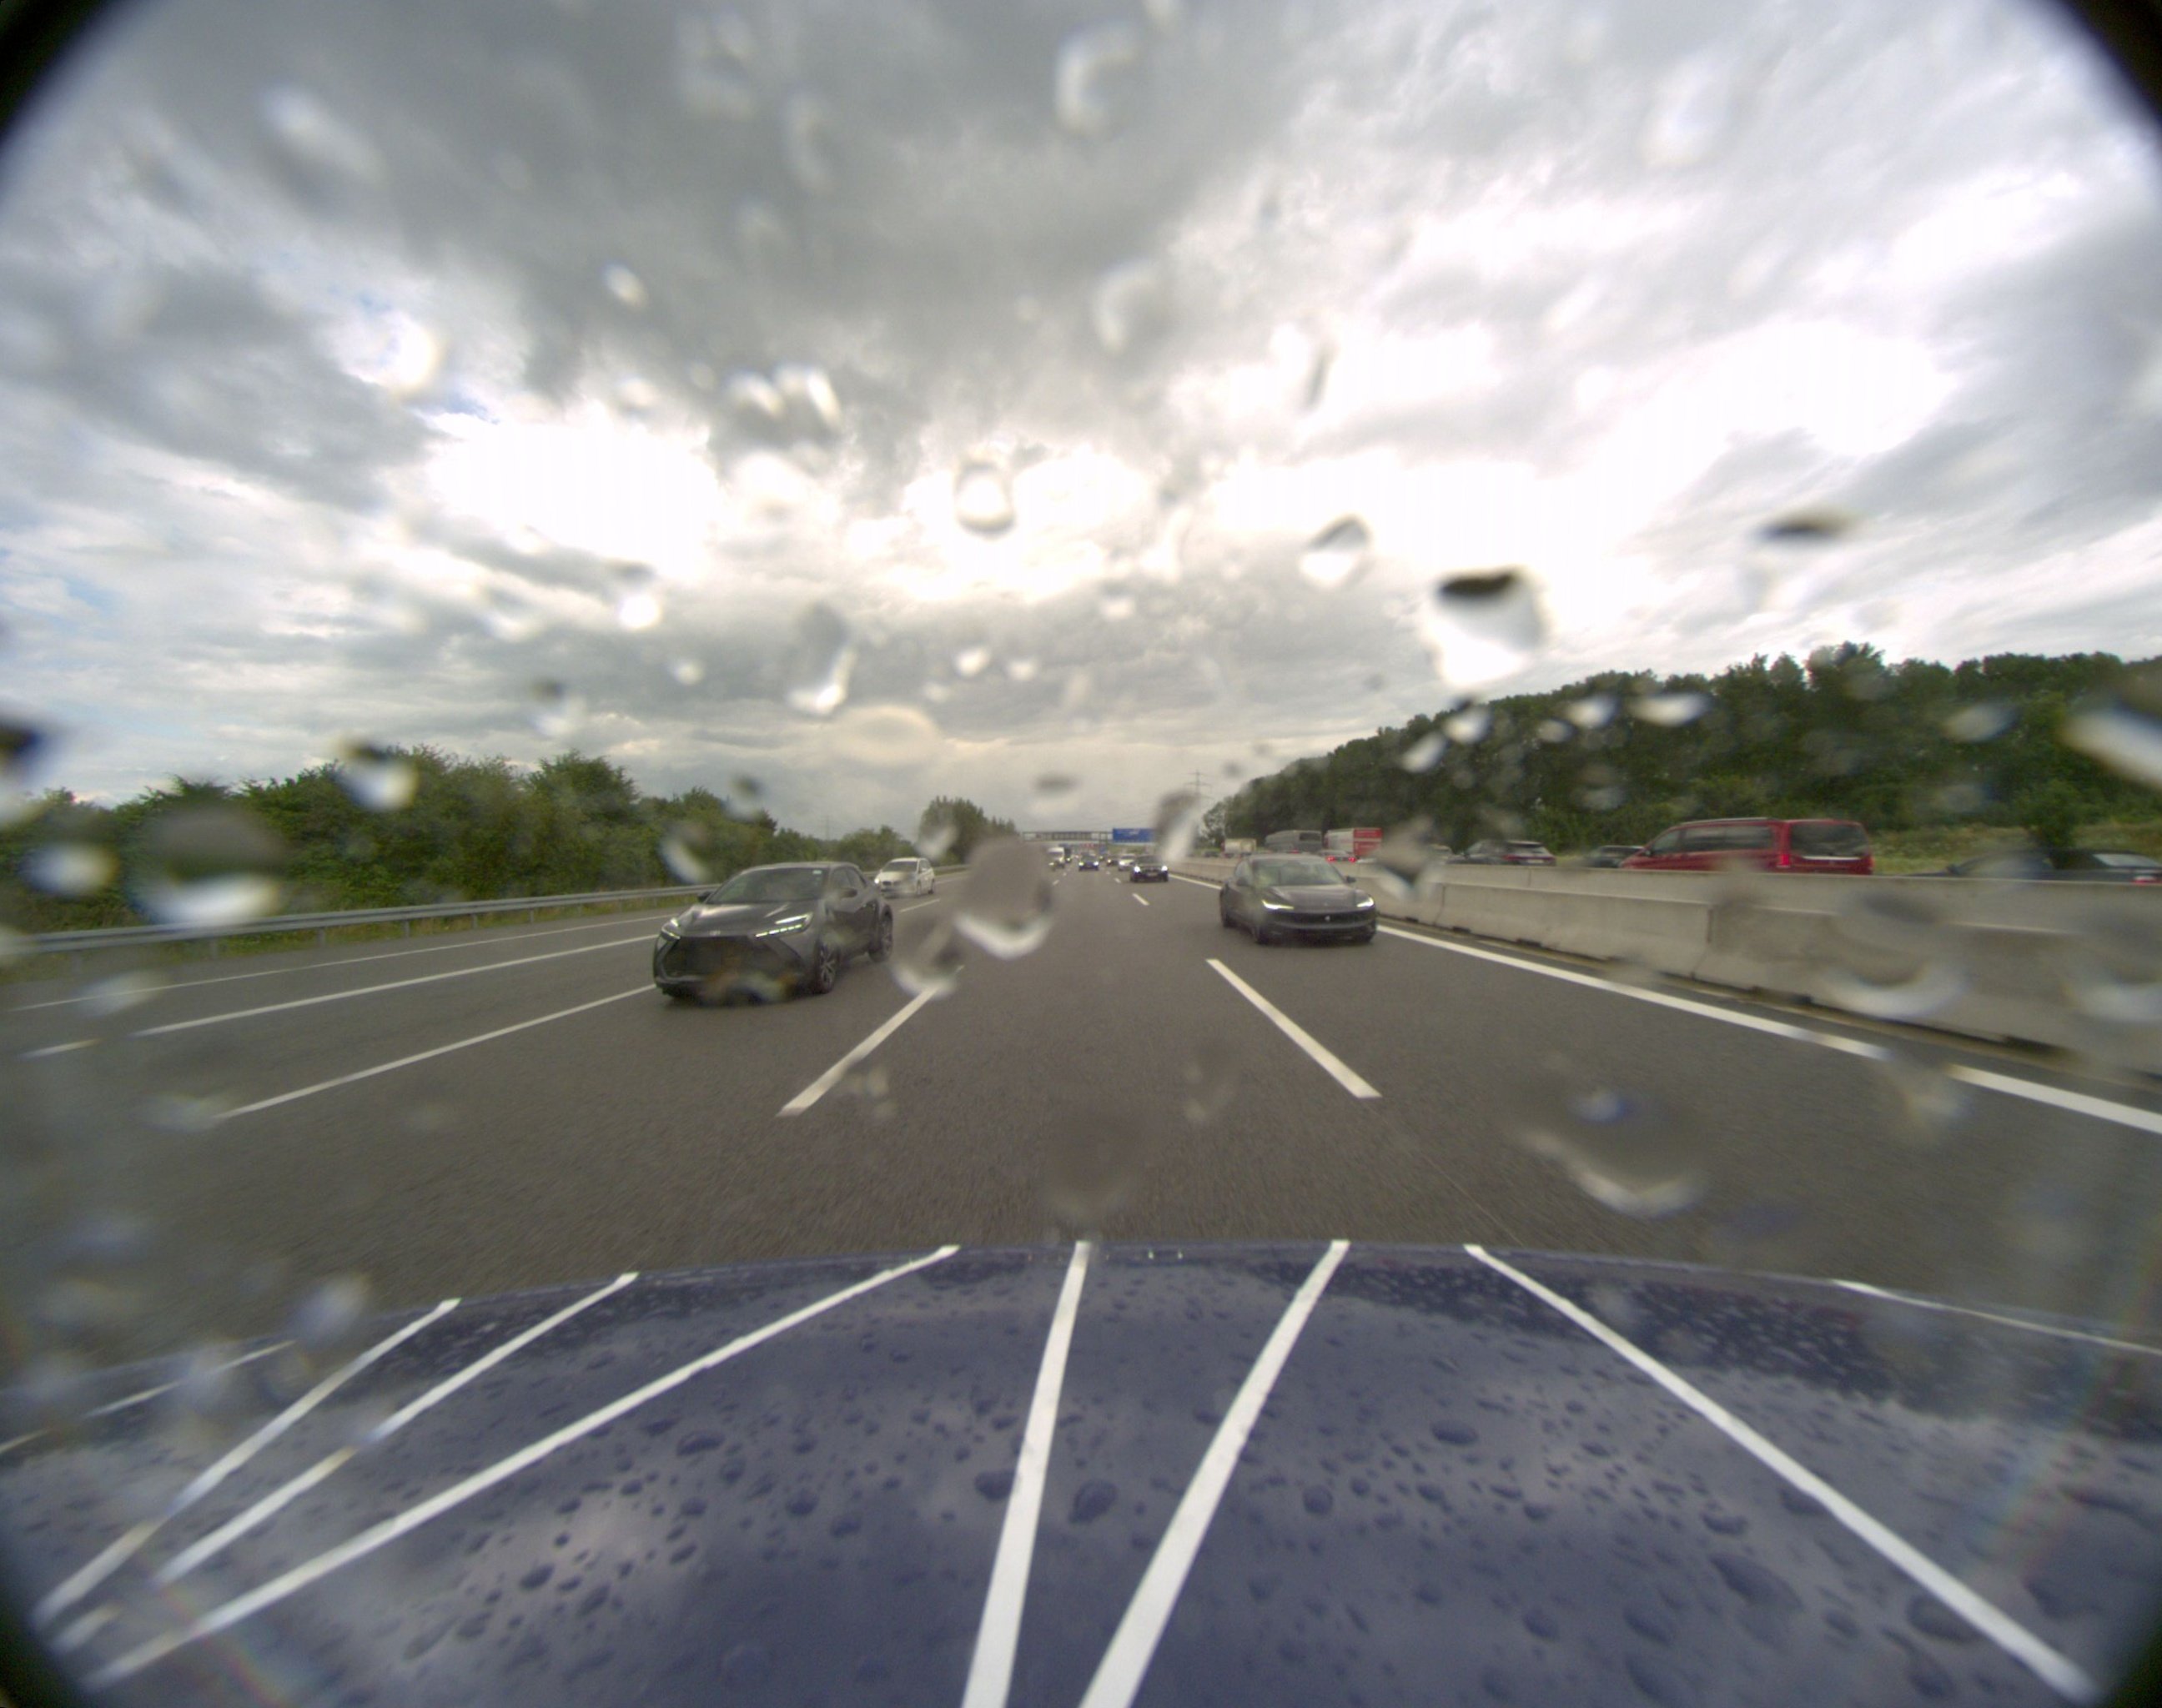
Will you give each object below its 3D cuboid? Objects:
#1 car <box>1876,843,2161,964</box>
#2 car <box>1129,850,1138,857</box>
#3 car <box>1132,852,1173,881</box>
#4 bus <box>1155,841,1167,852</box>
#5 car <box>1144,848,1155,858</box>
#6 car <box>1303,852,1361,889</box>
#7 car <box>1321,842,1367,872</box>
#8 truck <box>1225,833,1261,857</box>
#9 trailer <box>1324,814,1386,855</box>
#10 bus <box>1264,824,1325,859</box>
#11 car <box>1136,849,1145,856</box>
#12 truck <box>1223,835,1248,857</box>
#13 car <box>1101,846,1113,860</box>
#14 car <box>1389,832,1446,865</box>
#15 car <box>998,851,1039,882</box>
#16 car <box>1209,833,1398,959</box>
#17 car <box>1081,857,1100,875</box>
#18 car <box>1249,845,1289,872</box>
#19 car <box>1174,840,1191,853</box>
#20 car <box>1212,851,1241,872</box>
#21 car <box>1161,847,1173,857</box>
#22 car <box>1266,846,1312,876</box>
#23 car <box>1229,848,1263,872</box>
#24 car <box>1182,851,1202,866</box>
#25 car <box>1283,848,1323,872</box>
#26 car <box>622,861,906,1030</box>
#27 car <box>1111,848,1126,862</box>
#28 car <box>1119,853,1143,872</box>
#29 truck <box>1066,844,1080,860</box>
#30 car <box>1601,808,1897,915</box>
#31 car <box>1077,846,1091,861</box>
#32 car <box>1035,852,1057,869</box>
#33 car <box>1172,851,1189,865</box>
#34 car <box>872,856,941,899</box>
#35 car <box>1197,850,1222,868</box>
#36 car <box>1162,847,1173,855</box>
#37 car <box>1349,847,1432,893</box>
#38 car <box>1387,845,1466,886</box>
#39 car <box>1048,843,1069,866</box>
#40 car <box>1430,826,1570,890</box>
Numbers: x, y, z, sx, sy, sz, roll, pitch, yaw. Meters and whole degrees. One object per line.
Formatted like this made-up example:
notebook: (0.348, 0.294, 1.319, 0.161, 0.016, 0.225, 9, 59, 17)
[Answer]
car: (18.259, 0.776, 14.275, 1.998, 1.888, 4.474, -2, 0, 1)
car: (14.980, -0.130, 216.124, 1.999, 1.844, 4.634, -2, 0, -2)
car: (3.696, 0.645, 39.986, 1.922, 1.407, 4.001, -1, 0, 2)
bus: (25.143, -2.281, 239.705, 2.838, 3.313, 9.963, -2, 0, 1)
car: (14.779, -0.247, 164.708, 1.999, 2.002, 4.264, -2, 0, 0)
car: (14.693, 0.947, 44.777, 1.998, 2.002, 4.349, -2, 0, 1)
car: (18.470, 0.196, 53.555, 1.998, 2.002, 3.711, -2, 0, 1)
truck: (27.100, -1.416, 127.500, 3.156, 3.723, 13.298, -2, 0, 0)
trailer: (26.678, -1.788, 74.524, 2.867, 3.740, 9.160, -1, 0, 1)
bus: (22.472, -1.241, 81.013, 2.694, 3.365, 13.997, -2, 0, 1)
car: (15.813, -0.401, 202.330, 1.999, 2.002, 5.181, -2, 0, -1)
truck: (27.129, -1.420, 133.901, 3.158, 3.690, 6.318, -2, 0, 1)
car: (4.711, -0.210, 137.885, 2.145, 2.486, 5.448, -2, 0, 2)
car: (22.129, -0.343, 50.113, 1.998, 2.002, 4.000, -3, 0, 1)
car: (-3.460, 0.655, 42.828, 1.711, 1.621, 4.457, -2, 0, 2)
car: (3.720, 0.608, 13.791, 1.998, 1.810, 5.163, -2, 0, 1)
car: (0.923, 1.110, 71.915, 1.711, 1.562, 4.347, -2, 0, 2)
car: (14.621, 0.303, 59.301, 1.998, 1.956, 4.696, -2, 0, 1)
car: (18.631, -1.367, 139.488, 2.265, 2.152, 6.816, -2, 0, 1)
car: (14.629, 0.706, 76.743, 1.998, 1.956, 4.696, -2, 0, 1)
car: (15.765, -0.402, 139.161, 1.808, 1.709, 4.000, -2, 0, 1)
car: (14.700, 0.461, 53.949, 1.998, 2.002, 4.696, -2, 0, 1)
car: (14.595, 0.494, 67.418, 1.998, 1.956, 4.696, -2, 0, 1)
car: (14.789, 0.575, 101.375, 1.998, 1.956, 4.696, -2, 0, 1)
car: (18.717, 0.474, 64.271, 1.998, 1.956, 4.696, -2, 0, 1)
car: (-3.749, 0.951, 10.013, 1.785, 1.603, 4.597, -2, 0, 0)
car: (4.575, 0.140, 92.370, 1.711, 1.621, 4.000, -2, 0, 2)
car: (4.350, 0.703, 66.519, 1.822, 1.565, 4.000, -2, 0, 0)
truck: (-1.458, -0.298, 136.289, 2.391, 2.726, 6.592, -2, 0, -2)
car: (14.665, 0.134, 17.274, 1.998, 2.002, 5.418, -2, 0, 1)
car: (0.589, -0.065, 127.794, 2.145, 2.486, 5.448, -2, 0, 1)
car: (-3.258, 0.575, 72.246, 1.945, 1.482, 4.774, -2, 0, -1)
car: (15.460, 0.595, 118.471, 1.998, 1.956, 4.696, -2, 0, 1)
car: (-7.304, 0.927, 32.204, 1.815, 1.589, 4.695, -2, 0, 0)
car: (14.757, 0.525, 87.411, 1.998, 1.956, 4.696, -2, 0, 1)
car: (18.735, -0.635, 165.099, 1.871, 1.651, 4.027, -1, 0, 0)
car: (14.912, 0.709, 36.915, 1.998, 2.002, 4.972, -2, 0, 1)
car: (18.327, 0.553, 40.582, 1.998, 2.002, 4.972, -2, 0, 1)
car: (-2.532, 0.017, 88.340, 2.145, 2.486, 5.447, -2, 0, 1)
car: (14.637, 0.120, 26.963, 1.998, 2.002, 5.418, -2, 0, 1)
